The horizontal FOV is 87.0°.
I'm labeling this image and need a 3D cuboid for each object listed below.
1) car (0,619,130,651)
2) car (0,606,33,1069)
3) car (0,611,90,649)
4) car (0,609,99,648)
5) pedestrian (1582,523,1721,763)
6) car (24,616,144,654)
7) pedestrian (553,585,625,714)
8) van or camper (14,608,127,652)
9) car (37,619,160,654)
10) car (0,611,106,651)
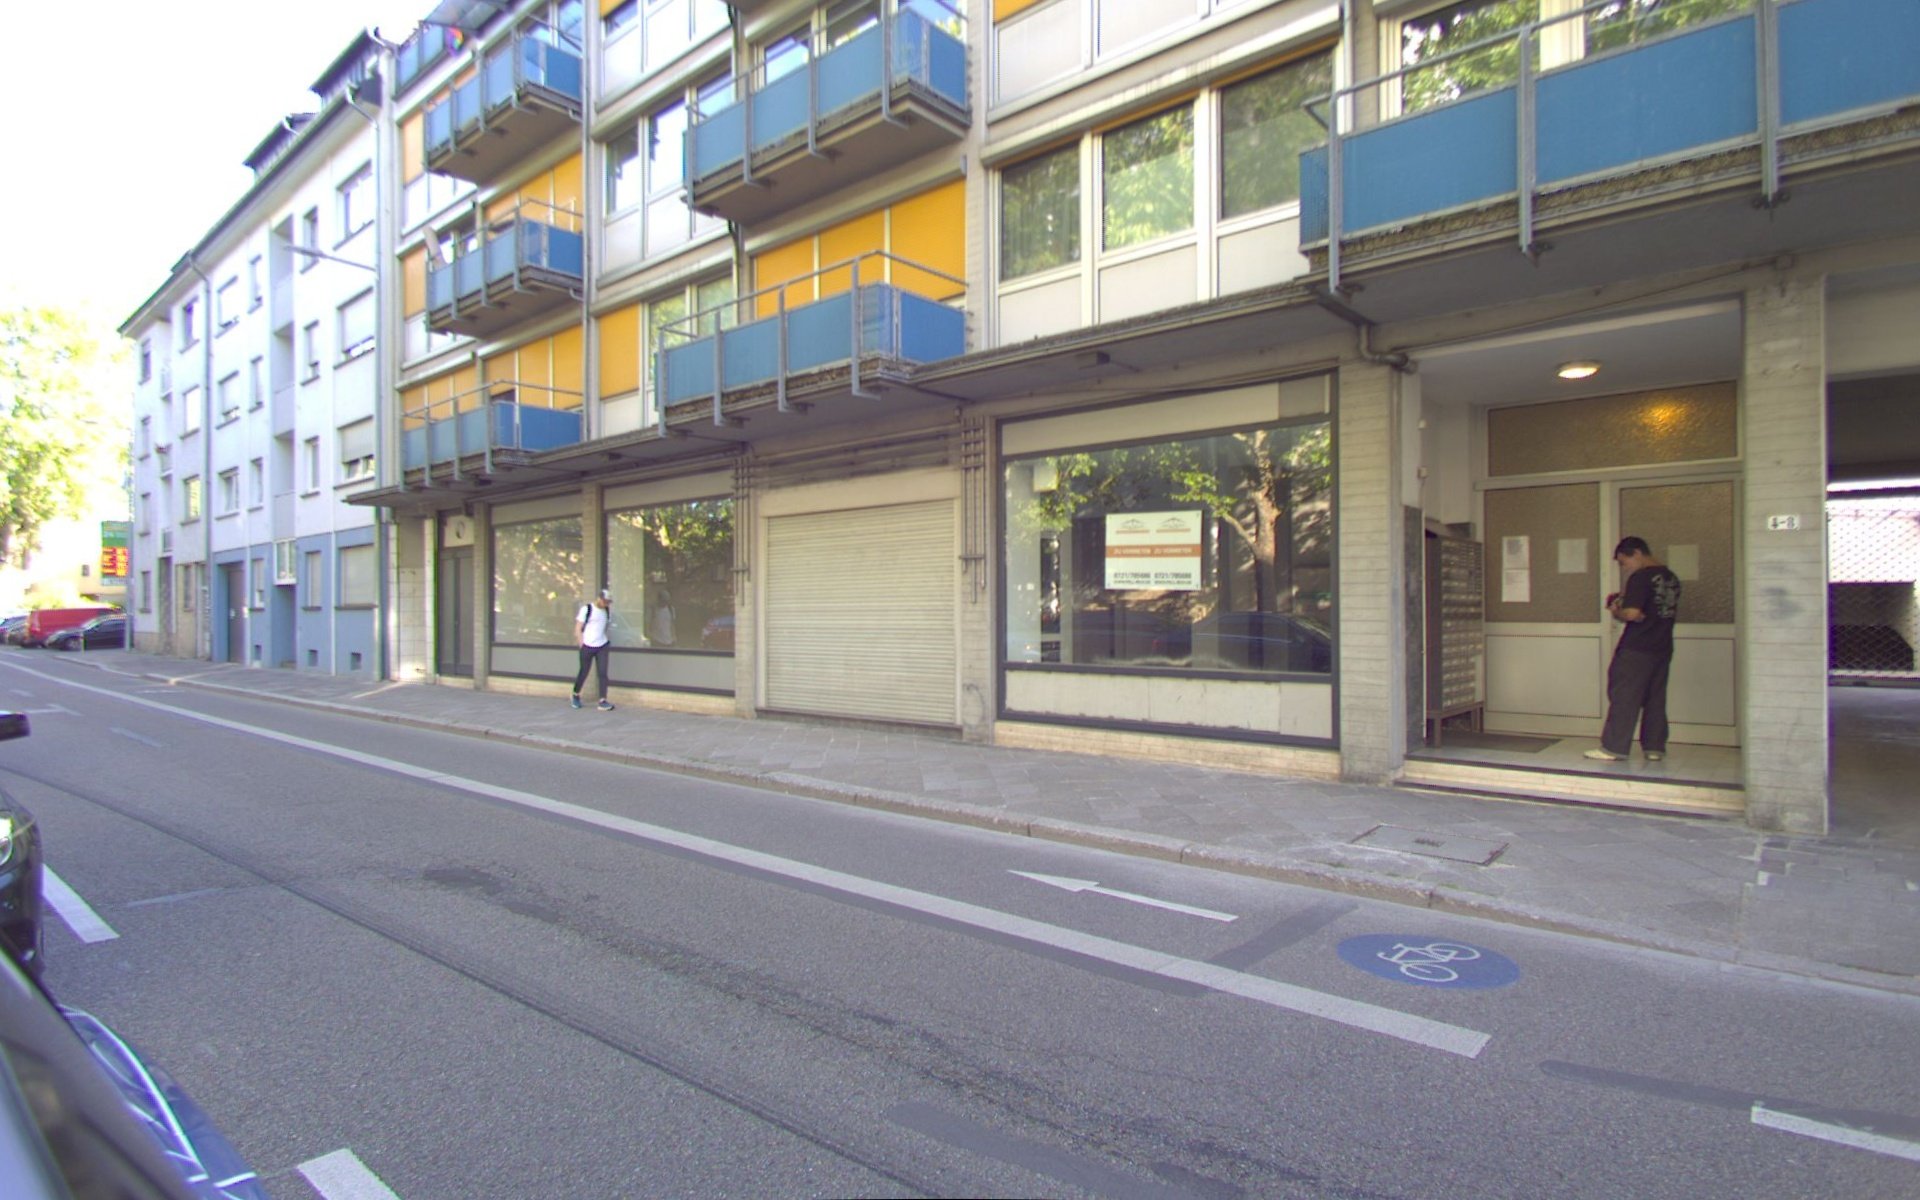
[{"bbox_3d":[-45.720,1.769,51.688,1.999,1.506,4.927,-1,-1,41],"label":"car"},{"bbox_3d":[-5.019,0.785,3.864,3.861,1.467,1.718,-1,-1,40],"label":"car"},{"bbox_3d":[-57.394,1.842,62.846,1.999,2.210,4.927,-1,-1,41],"label":"car"},{"bbox_3d":[-55.401,1.692,61.137,1.999,2.210,4.927,-1,-1,41],"label":"car"},{"bbox_3d":[5.211,0.311,7.647,0.650,1.726,0.550,0,-1,-16],"label":"pedestrian"},{"bbox_3d":[-41.631,1.638,48.154,1.999,1.703,4.093,-1,-1,41],"label":"car"},{"bbox_3d":[-5.439,0.708,14.832,0.879,1.813,0.593,-1,0,42],"label":"pedestrian"},{"bbox_3d":[-43.887,1.448,49.996,1.999,2.029,3.946,-1,-1,40],"label":"van or camper"},{"bbox_3d":[-39.750,1.649,46.769,1.999,1.506,4.093,-1,-1,41],"label":"car"},{"bbox_3d":[-53.313,1.756,59.186,1.999,2.210,4.927,-1,-1,41],"label":"car"}]
